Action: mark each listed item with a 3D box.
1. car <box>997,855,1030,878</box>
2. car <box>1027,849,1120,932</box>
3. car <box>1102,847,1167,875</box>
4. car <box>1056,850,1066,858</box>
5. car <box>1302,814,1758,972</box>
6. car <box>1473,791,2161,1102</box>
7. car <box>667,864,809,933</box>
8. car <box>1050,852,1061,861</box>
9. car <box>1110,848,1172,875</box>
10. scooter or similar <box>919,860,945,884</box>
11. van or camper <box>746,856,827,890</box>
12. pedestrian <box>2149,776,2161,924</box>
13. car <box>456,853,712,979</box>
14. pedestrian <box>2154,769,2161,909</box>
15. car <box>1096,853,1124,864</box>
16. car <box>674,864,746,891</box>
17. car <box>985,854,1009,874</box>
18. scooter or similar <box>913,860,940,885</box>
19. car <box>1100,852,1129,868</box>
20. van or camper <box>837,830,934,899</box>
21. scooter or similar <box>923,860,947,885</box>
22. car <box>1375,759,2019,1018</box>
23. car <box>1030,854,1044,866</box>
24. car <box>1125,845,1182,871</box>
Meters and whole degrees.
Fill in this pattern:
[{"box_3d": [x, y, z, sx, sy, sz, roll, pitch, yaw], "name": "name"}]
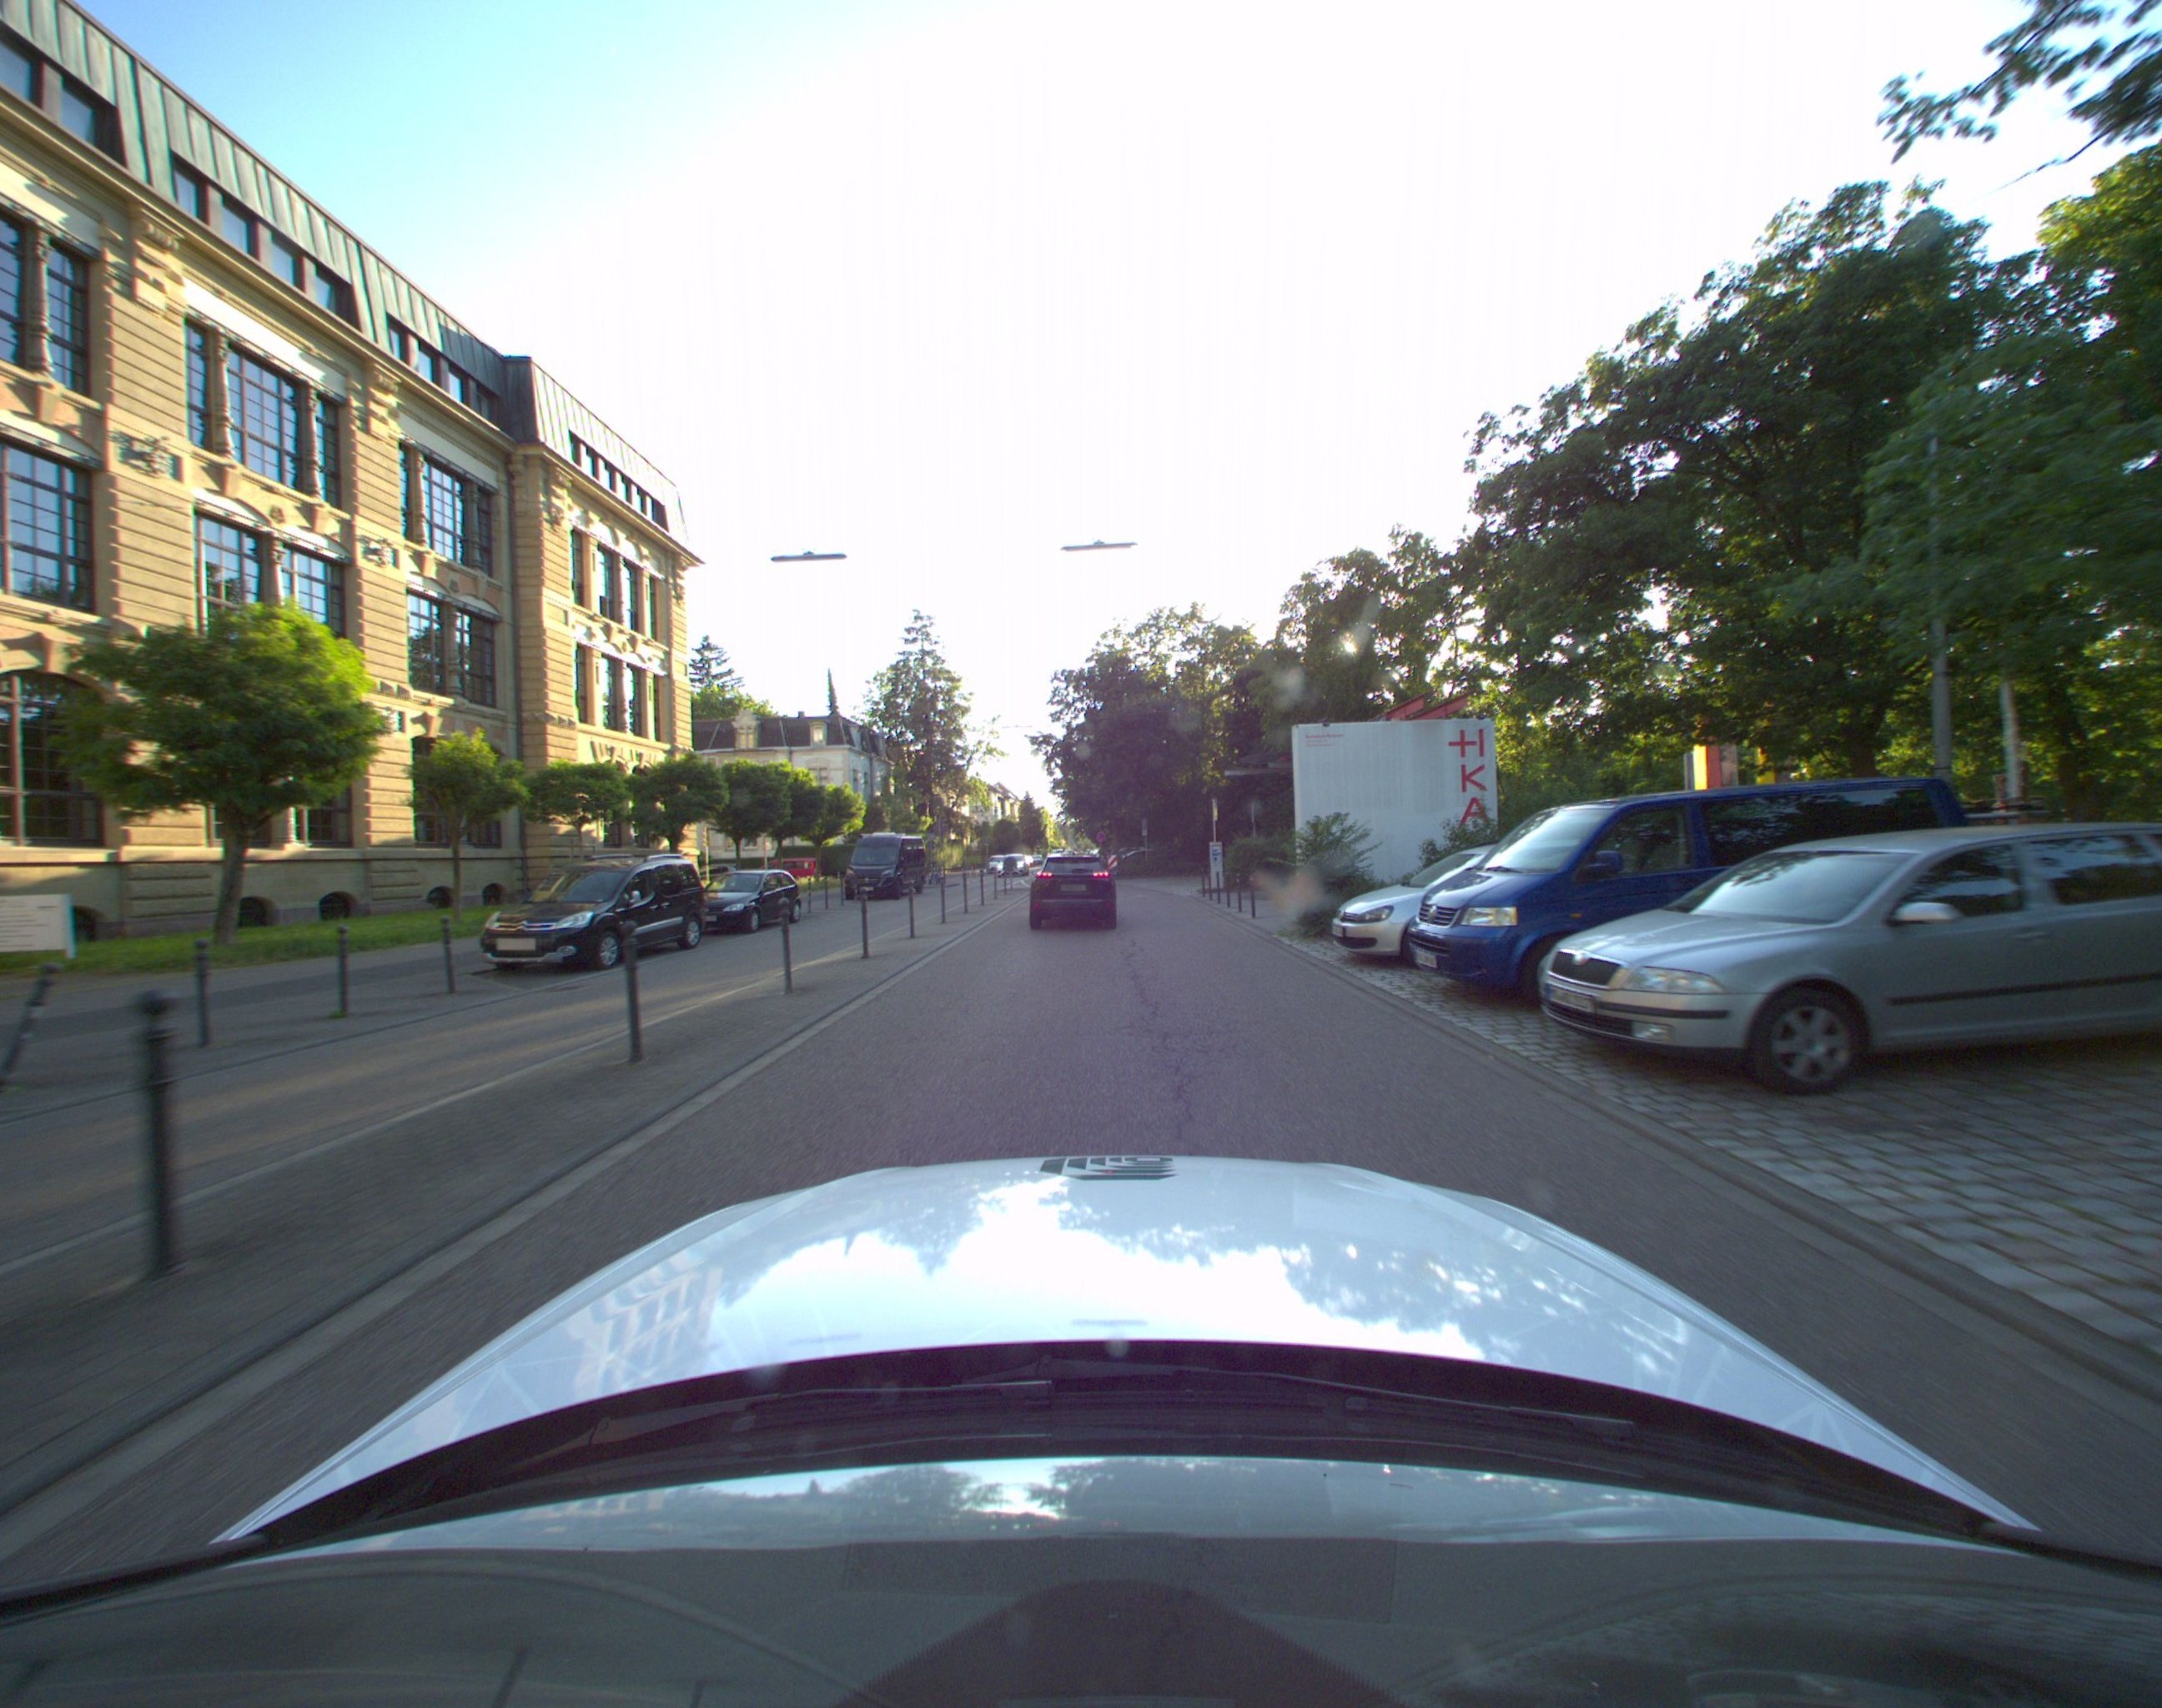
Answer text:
[{"box_3d": [-4.573, 0.816, 55.662, 1.735, 1.458, 4.624, -3, 0, 1], "name": "car"}, {"box_3d": [-0.094, 0.691, 17.773, 1.765, 1.568, 4.110, -1, 0, 1], "name": "car"}, {"box_3d": [3.327, 0.449, 51.405, 3.973, 1.554, 1.726, -3, 1, 0], "name": "car"}, {"box_3d": [-4.334, 0.060, 179.707, 1.987, 1.768, 4.000, -2, 0, 0], "name": "car"}, {"box_3d": [5.663, 0.465, 10.759, 4.910, 1.554, 1.916, -4, 0, 0], "name": "car"}, {"box_3d": [5.675, 0.478, 5.667, 4.910, 1.554, 1.916, -4, 0, 0], "name": "car"}, {"box_3d": [-8.262, 1.009, 20.020, 1.689, 1.470, 3.857, 0, 0, 3], "name": "car"}, {"box_3d": [-4.830, 0.512, 157.449, 1.893, 1.574, 4.000, -2, 0, 1], "name": "car"}, {"box_3d": [3.912, 0.497, 53.543, 3.973, 1.554, 1.726, -3, 1, 0], "name": "car"}, {"box_3d": [-8.242, 0.996, 45.009, 1.349, 1.275, 0.427, -2, -1, -35], "name": "scooter or similar"}, {"box_3d": [-20.264, 1.274, 56.149, 4.749, 1.985, 2.003, -2, 4, 3], "name": "van or camper"}, {"box_3d": [13.269, -0.053, 9.466, 0.662, 1.772, 0.785, -2, 0, -3], "name": "pedestrian"}, {"box_3d": [-8.461, 0.926, 14.415, 1.771, 1.866, 4.334, 0, 0, 1], "name": "car"}, {"box_3d": [13.963, -0.197, 9.937, 0.645, 1.772, 0.789, -2, -1, -3], "name": "pedestrian"}, {"box_3d": [4.230, 0.691, 119.135, 3.979, 1.526, 1.755, -2, 0, -4], "name": "car"}, {"box_3d": [-25.357, 1.586, 55.773, 3.976, 1.673, 1.919, -2, 0, -2], "name": "car"}, {"box_3d": [-7.104, 0.856, 68.971, 1.609, 1.515, 3.711, -4, 0, -1], "name": "car"}, {"box_3d": [-8.419, 1.001, 44.323, 1.349, 1.275, 0.427, -2, -1, -35], "name": "scooter or similar"}, {"box_3d": [4.783, 0.854, 116.405, 3.979, 2.089, 1.755, -2, 0, -4], "name": "car"}, {"box_3d": [-7.890, 0.409, 33.803, 2.222, 2.544, 7.080, -1, 0, 1], "name": "van or camper"}, {"box_3d": [-7.868, 0.982, 43.950, 0.426, 1.275, 1.353, -2, -1, 36], "name": "scooter or similar"}, {"box_3d": [5.711, 0.297, 8.053, 4.836, 1.915, 1.916, -4, 0, 0], "name": "car"}, {"box_3d": [-6.036, 0.784, 111.797, 1.747, 1.413, 3.763, -4, 0, -1], "name": "car"}, {"box_3d": [5.685, 0.295, 64.204, 4.293, 1.804, 2.035, -3, 0, 0], "name": "car"}]
